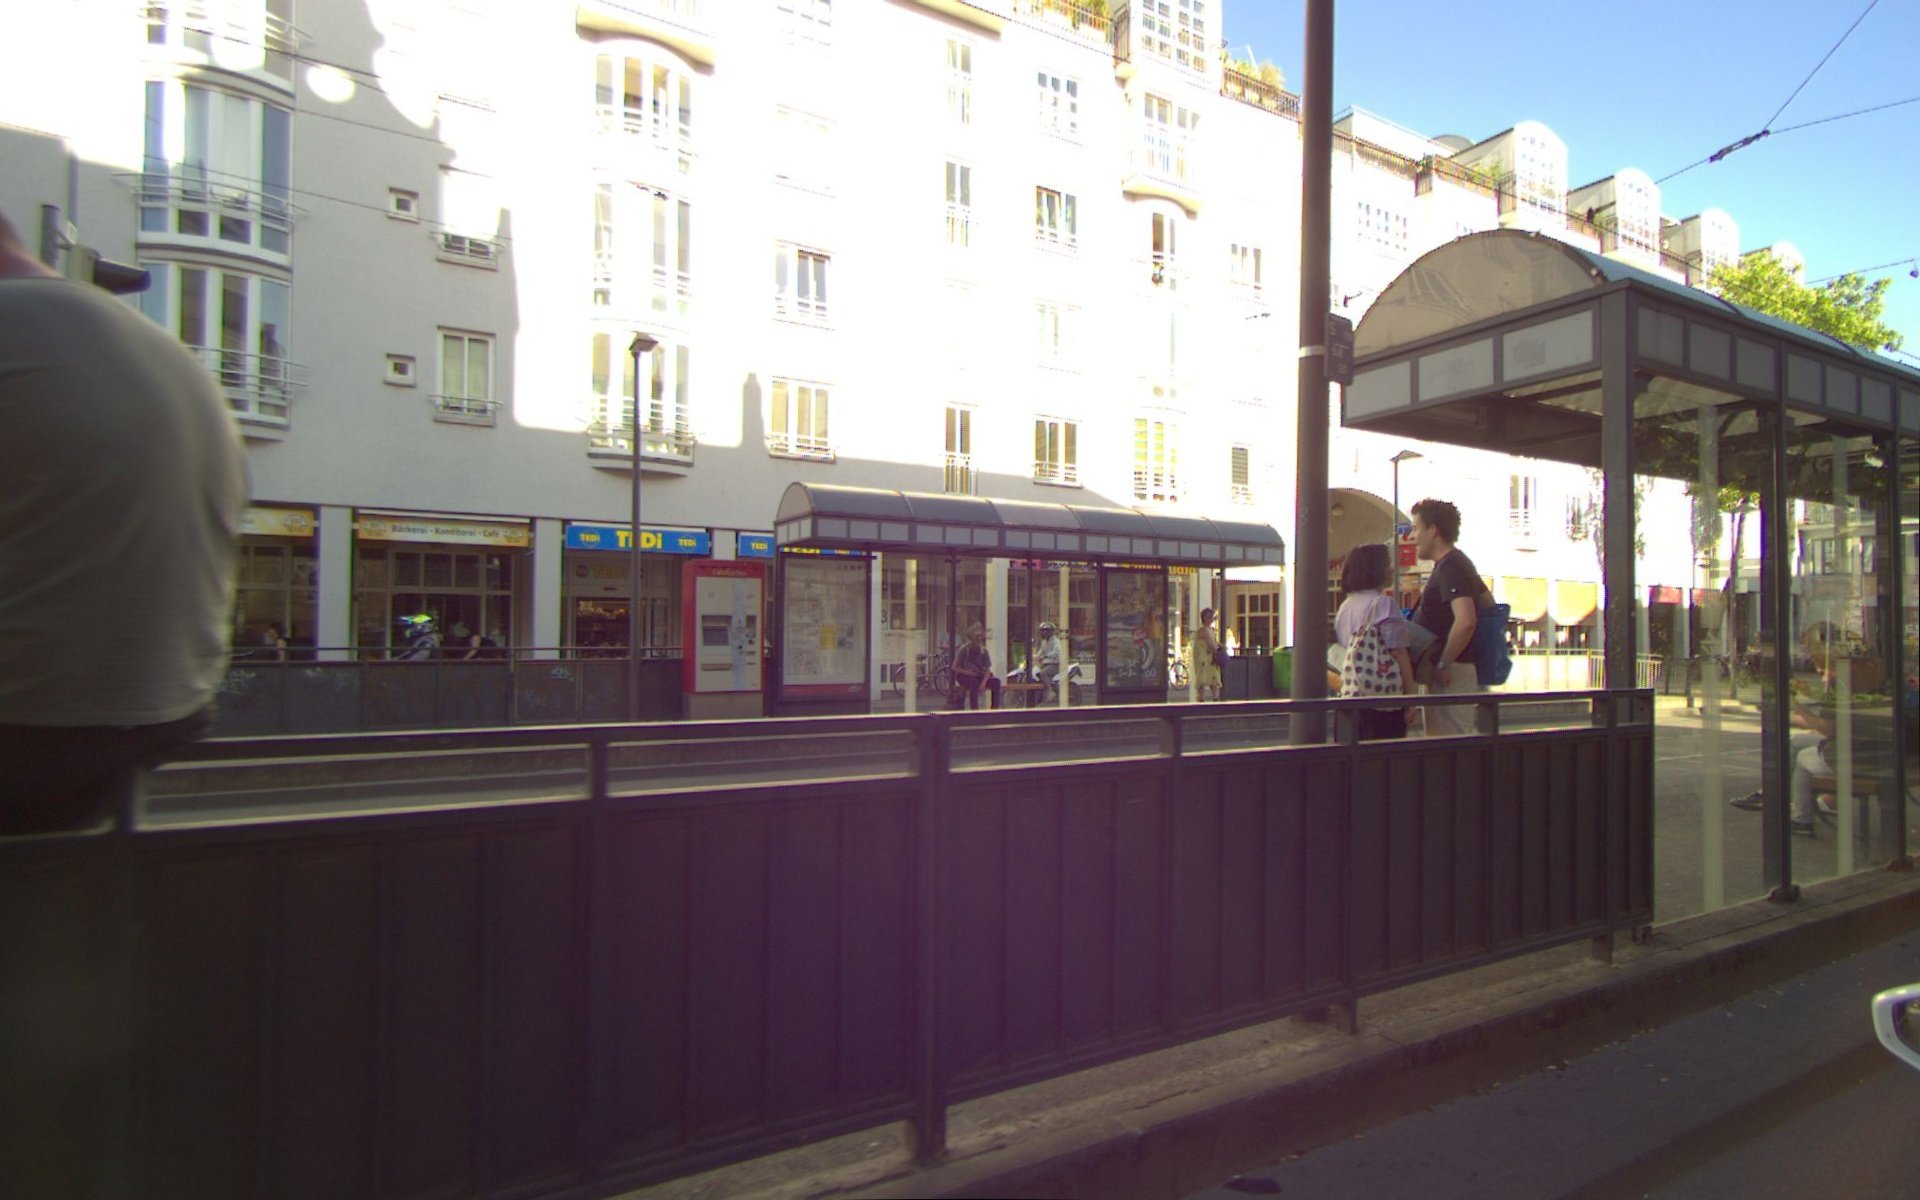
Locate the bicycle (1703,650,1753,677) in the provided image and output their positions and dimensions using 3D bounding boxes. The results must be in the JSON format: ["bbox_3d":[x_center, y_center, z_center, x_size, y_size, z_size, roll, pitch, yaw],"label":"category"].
[{"bbox_3d":[28.257,2.345,36.966,1.465,0.953,0.393,0,-1,6],"label":"bicycle"}]

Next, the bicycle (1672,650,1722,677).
[{"bbox_3d":[26.636,2.297,36.311,1.465,0.953,0.393,0,-1,6],"label":"bicycle"}]

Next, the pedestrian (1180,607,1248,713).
[{"bbox_3d":[3.904,0.905,15.464,0.734,1.580,0.727,1,-1,-31],"label":"pedestrian"}]

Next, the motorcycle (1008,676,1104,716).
[{"bbox_3d":[1.941,1.923,20.230,1.982,0.729,0.490,3,-1,-30],"label":"motorcycle"}]

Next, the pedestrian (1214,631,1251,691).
[{"bbox_3d":[7.679,1.705,28.271,0.835,1.643,0.593,1,-2,-30],"label":"pedestrian"}]

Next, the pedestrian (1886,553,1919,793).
[{"bbox_3d":[7.495,0.547,7.604,0.555,1.774,0.718,-1,-2,31],"label":"pedestrian"}]

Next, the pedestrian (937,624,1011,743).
[{"bbox_3d":[0.191,1.108,13.649,0.734,1.548,0.727,1,-1,-31],"label":"pedestrian"}]

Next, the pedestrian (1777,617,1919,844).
[{"bbox_3d":[5.638,0.755,6.152,0.710,1.289,0.762,1,-2,-28],"label":"pedestrian"}]

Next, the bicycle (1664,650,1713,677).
[{"bbox_3d":[26.693,2.314,36.806,1.465,0.953,0.393,0,-1,6],"label":"bicycle"}]

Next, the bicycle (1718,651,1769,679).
[{"bbox_3d":[28.167,2.337,36.116,1.465,0.953,0.393,0,-1,6],"label":"bicycle"}]

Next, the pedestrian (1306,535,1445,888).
[{"bbox_3d":[1.971,0.506,4.822,0.460,1.582,0.587,0,-2,6],"label":"pedestrian"}]

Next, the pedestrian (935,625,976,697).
[{"bbox_3d":[-0.113,1.410,23.377,0.591,1.643,0.837,1,-2,-35],"label":"pedestrian"}]

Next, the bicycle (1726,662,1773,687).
[{"bbox_3d":[26.244,2.460,33.371,1.914,0.767,0.564,1,-1,-30],"label":"bicycle"}]

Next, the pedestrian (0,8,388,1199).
[{"bbox_3d":[-1.372,0.193,1.337,0.920,1.720,0.635,3,-1,-23],"label":"pedestrian"}]

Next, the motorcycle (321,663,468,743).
[{"bbox_3d":[-8.286,1.503,14.783,1.823,1.088,0.556,3,-1,-30],"label":"motorcycle"}]

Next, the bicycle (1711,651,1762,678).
[{"bbox_3d":[28.207,2.343,36.510,1.465,0.953,0.393,0,-1,6],"label":"bicycle"}]

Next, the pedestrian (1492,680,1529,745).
[{"bbox_3d":[14.178,2.882,25.858,0.676,1.580,0.577,1,-1,-31],"label":"pedestrian"}]

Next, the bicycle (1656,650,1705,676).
[{"bbox_3d":[26.732,2.331,37.259,1.465,0.953,0.393,0,-1,6],"label":"bicycle"}]

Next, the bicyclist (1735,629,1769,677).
[{"bbox_3d":[26.326,1.761,33.391,0.768,1.577,0.669,1,-1,-29],"label":"bicyclist"}]

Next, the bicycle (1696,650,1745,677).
[{"bbox_3d":[28.295,2.363,37.390,1.465,0.953,0.393,0,-1,6],"label":"bicycle"}]

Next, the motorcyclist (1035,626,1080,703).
[{"bbox_3d":[1.961,1.297,20.235,0.713,1.522,0.484,3,-1,-30],"label":"motorcyclist"}]

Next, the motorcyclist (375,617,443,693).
[{"bbox_3d":[-8.134,0.809,14.841,0.818,1.088,0.556,3,-1,-29],"label":"motorcyclist"}]

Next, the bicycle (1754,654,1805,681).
[{"bbox_3d":[29.717,2.439,36.425,1.465,0.953,0.393,0,-1,6],"label":"bicycle"}]

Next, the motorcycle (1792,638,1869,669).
[{"bbox_3d":[38.773,2.373,44.784,0.661,1.305,2.499,1,-1,-32],"label":"motorcycle"}]

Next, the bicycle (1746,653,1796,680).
[{"bbox_3d":[29.771,2.447,36.884,1.465,0.953,0.393,0,-1,6],"label":"bicycle"}]

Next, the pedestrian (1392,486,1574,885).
[{"bbox_3d":[2.531,0.395,4.931,0.554,1.801,0.720,0,-2,6],"label":"pedestrian"}]

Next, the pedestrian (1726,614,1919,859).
[{"bbox_3d":[4.971,0.735,5.762,0.648,1.289,0.708,1,-2,-28],"label":"pedestrian"}]

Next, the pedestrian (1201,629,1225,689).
[{"bbox_3d":[7.249,1.684,28.792,0.486,1.686,0.359,3,-1,-29],"label":"pedestrian"}]
